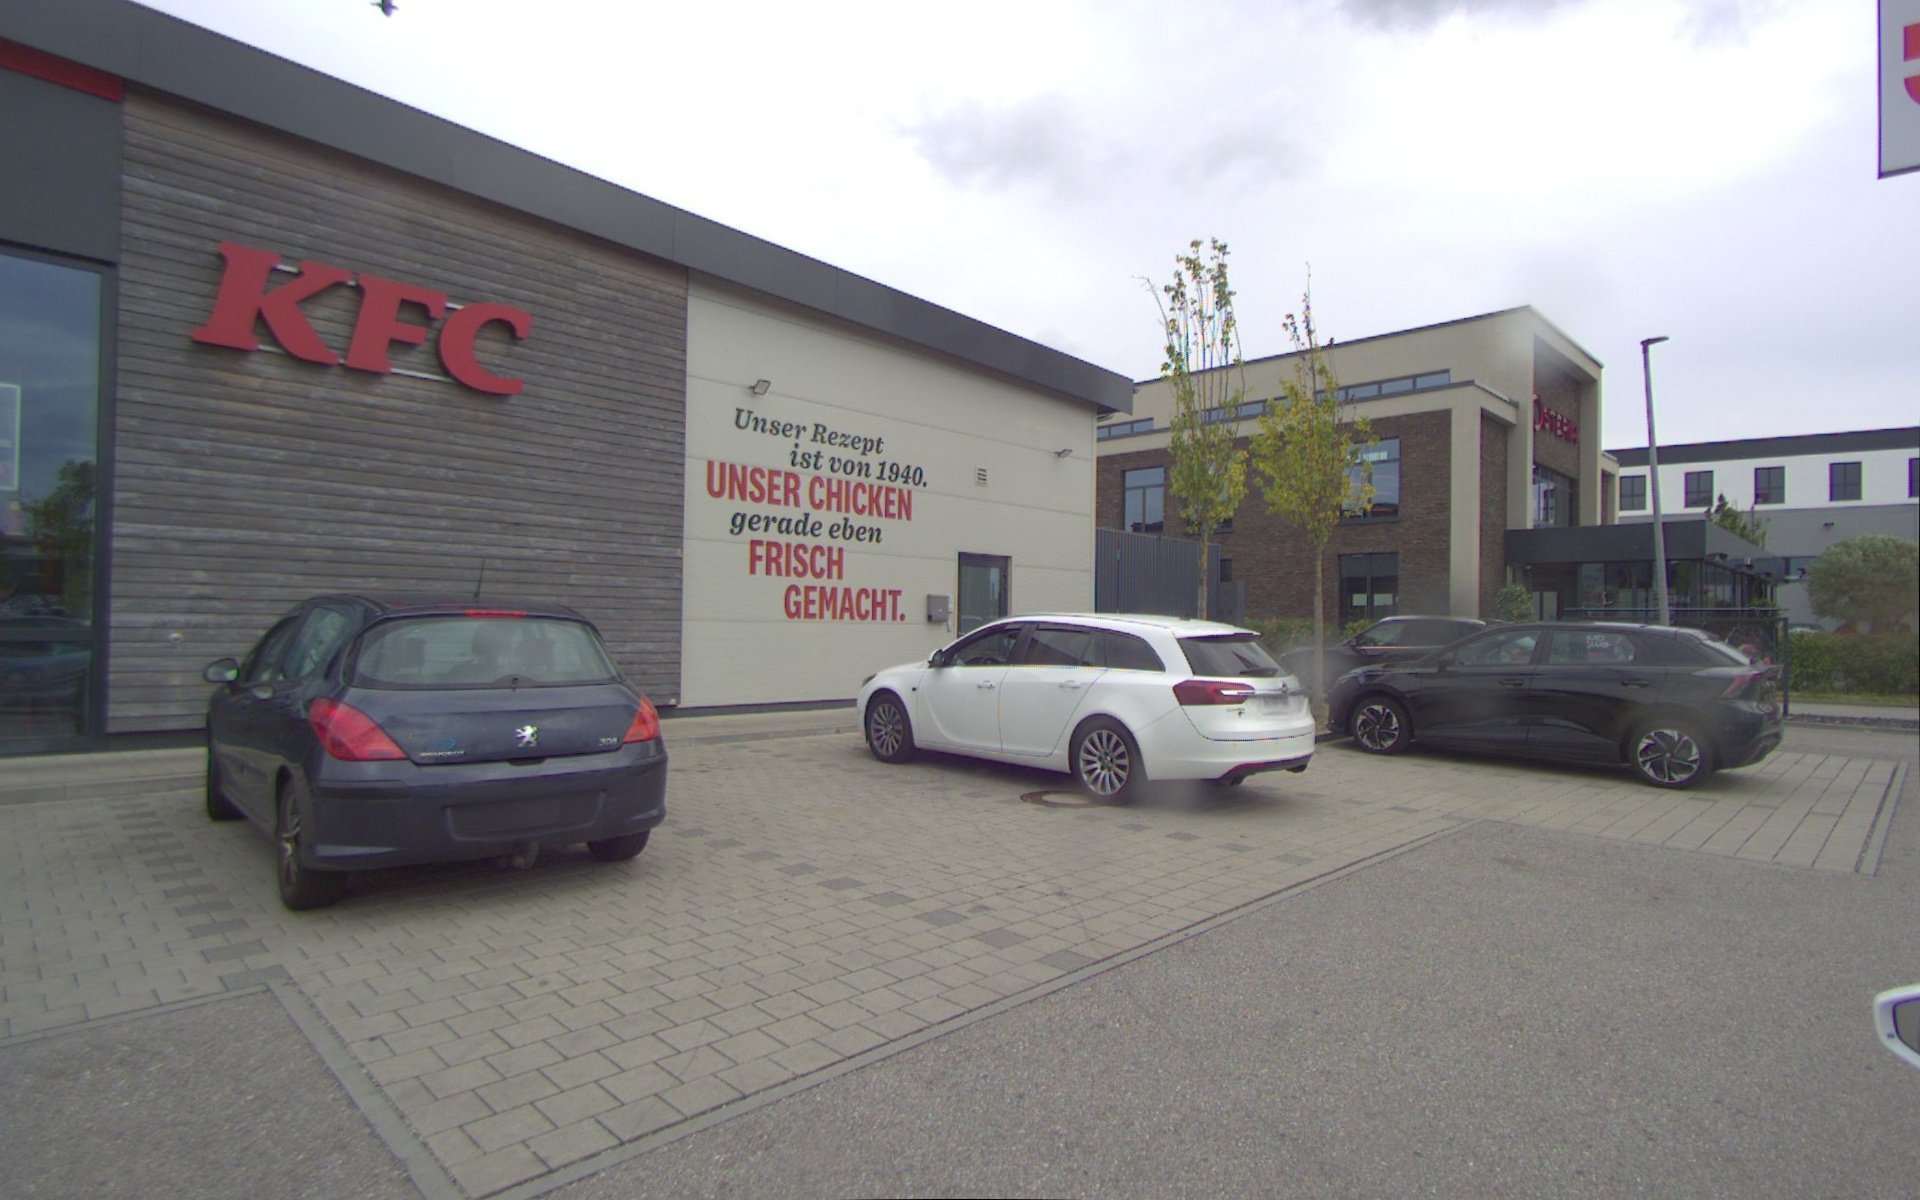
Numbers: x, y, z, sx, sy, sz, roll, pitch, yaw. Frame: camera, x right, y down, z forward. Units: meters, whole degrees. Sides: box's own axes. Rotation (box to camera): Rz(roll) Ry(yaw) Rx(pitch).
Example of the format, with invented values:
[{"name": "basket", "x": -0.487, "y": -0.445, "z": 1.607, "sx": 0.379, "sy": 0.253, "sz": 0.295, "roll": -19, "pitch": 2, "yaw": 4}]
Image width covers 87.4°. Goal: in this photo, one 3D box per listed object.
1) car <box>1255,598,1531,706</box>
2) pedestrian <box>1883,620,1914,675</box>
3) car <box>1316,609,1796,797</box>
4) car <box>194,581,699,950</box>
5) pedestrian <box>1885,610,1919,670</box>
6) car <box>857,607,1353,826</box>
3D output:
[{"name": "car", "x": 7.245, "y": 0.880, "z": 17.042, "sx": 3.945, "sy": 1.617, "sz": 1.726, "roll": -3, "pitch": -3, "yaw": 43}, {"name": "pedestrian", "x": 21.063, "y": 1.069, "z": 22.540, "sx": 0.453, "sy": 1.215, "sz": 0.416, "roll": 1, "pitch": -3, "yaw": -40}, {"name": "car", "x": 6.101, "y": 0.911, "z": 10.629, "sx": 1.730, "sy": 1.548, "sz": 4.069, "roll": 2, "pitch": -1, "yaw": -44}, {"name": "car", "x": -3.361, "y": 0.669, "z": 6.174, "sx": 1.746, "sy": 1.507, "sz": 3.889, "roll": 1, "pitch": 1, "yaw": -43}, {"name": "pedestrian", "x": 28.300, "y": 1.193, "z": 30.140, "sx": 0.732, "sy": 1.771, "sz": 0.700, "roll": -2, "pitch": -3, "yaw": 42}, {"name": "car", "x": 1.120, "y": 0.857, "z": 9.108, "sx": 1.986, "sy": 1.505, "sz": 4.126, "roll": 3, "pitch": -2, "yaw": -43}]
